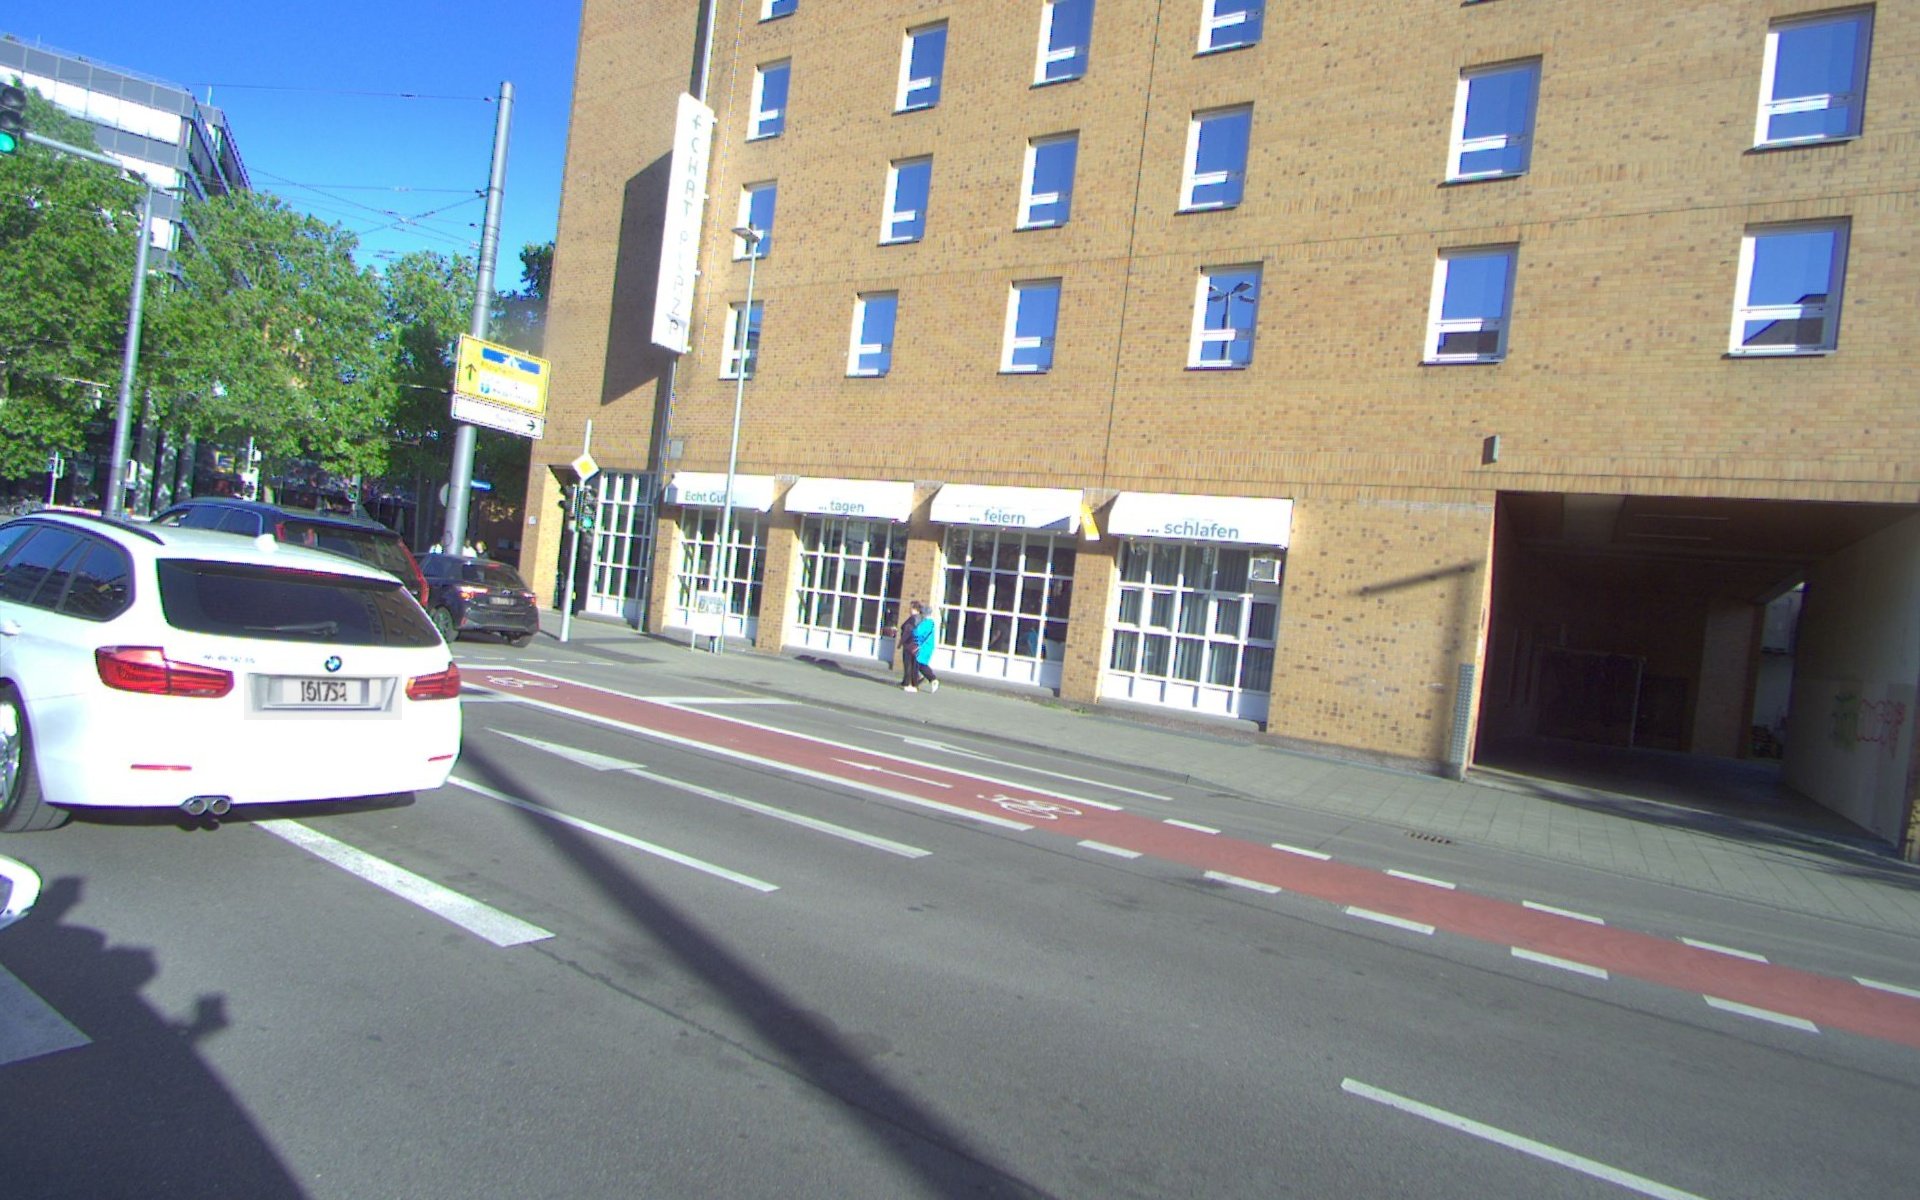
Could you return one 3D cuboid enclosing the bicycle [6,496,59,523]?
[{"bbox_3d":[-48.153,-4.678,52.244,0.354,1.058,1.884,6,-2,31],"label":"bicycle"}]

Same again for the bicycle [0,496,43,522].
[{"bbox_3d":[-49.854,-4.835,53.227,0.354,1.058,1.884,6,-2,31],"label":"bicycle"}]

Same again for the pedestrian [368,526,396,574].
[{"bbox_3d":[-21.854,-1.885,38.034,0.636,1.719,0.715,8,-1,-39],"label":"pedestrian"}]

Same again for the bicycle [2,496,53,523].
[{"bbox_3d":[-48.819,-4.734,52.689,0.354,1.058,1.884,6,-2,31],"label":"bicycle"}]

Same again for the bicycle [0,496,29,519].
[{"bbox_3d":[-51.638,-5.052,54.317,0.354,1.058,1.884,7,-2,31],"label":"bicycle"}]

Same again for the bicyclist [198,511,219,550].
[{"bbox_3d":[-37.781,-3.506,50.586,0.396,1.859,0.585,6,-1,32],"label":"bicyclist"}]

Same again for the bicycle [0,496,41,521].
[{"bbox_3d":[-50.238,-4.886,53.511,0.354,1.058,1.885,7,-2,31],"label":"bicycle"}]

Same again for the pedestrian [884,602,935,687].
[{"bbox_3d":[-0.927,0.816,18.548,0.543,1.495,0.593,6,1,32],"label":"pedestrian"}]

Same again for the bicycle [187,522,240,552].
[{"bbox_3d":[-37.687,-3.170,50.795,0.414,1.228,2.046,6,-2,32],"label":"bicycle"}]

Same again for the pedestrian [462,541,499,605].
[{"bbox_3d":[-14.391,-0.799,30.202,0.726,1.813,0.510,7,-1,-19],"label":"pedestrian"}]

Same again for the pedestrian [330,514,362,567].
[{"bbox_3d":[-24.082,-2.325,39.466,0.787,1.920,0.809,8,-1,-39],"label":"pedestrian"}]

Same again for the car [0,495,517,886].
[{"bbox_3d":[-4.729,0.266,5.766,4.345,1.474,1.735,6,-2,32],"label":"car"}]

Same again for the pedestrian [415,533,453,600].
[{"bbox_3d":[-14.683,-0.923,28.083,0.670,1.804,0.593,5,3,29],"label":"pedestrian"}]

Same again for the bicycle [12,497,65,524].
[{"bbox_3d":[-47.488,-4.619,51.861,0.354,1.058,1.884,6,-2,31],"label":"bicycle"}]

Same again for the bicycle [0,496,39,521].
[{"bbox_3d":[-50.627,-4.931,53.814,0.354,1.058,1.885,7,-2,31],"label":"bicycle"}]

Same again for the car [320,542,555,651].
[{"bbox_3d":[-9.553,-0.072,18.364,3.971,1.466,1.736,6,-2,28],"label":"car"}]

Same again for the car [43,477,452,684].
[{"bbox_3d":[-8.041,-0.253,11.277,4.531,1.752,1.736,6,-2,28],"label":"car"}]

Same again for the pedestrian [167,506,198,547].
[{"bbox_3d":[-32.401,-3.058,41.927,0.689,1.550,0.568,7,-1,17],"label":"pedestrian"}]

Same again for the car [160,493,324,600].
[{"bbox_3d":[-16.356,-1.243,22.839,4.407,2.033,1.802,6,0,39],"label":"car"}]

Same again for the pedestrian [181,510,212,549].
[{"bbox_3d":[-32.283,-2.985,42.542,0.689,1.496,0.568,7,-1,12],"label":"pedestrian"}]

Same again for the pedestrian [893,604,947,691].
[{"bbox_3d":[-0.709,0.843,17.925,0.591,1.470,0.593,6,1,32],"label":"pedestrian"}]

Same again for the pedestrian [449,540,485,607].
[{"bbox_3d":[-14.026,-0.757,28.631,0.673,1.802,0.591,6,1,43],"label":"pedestrian"}]
